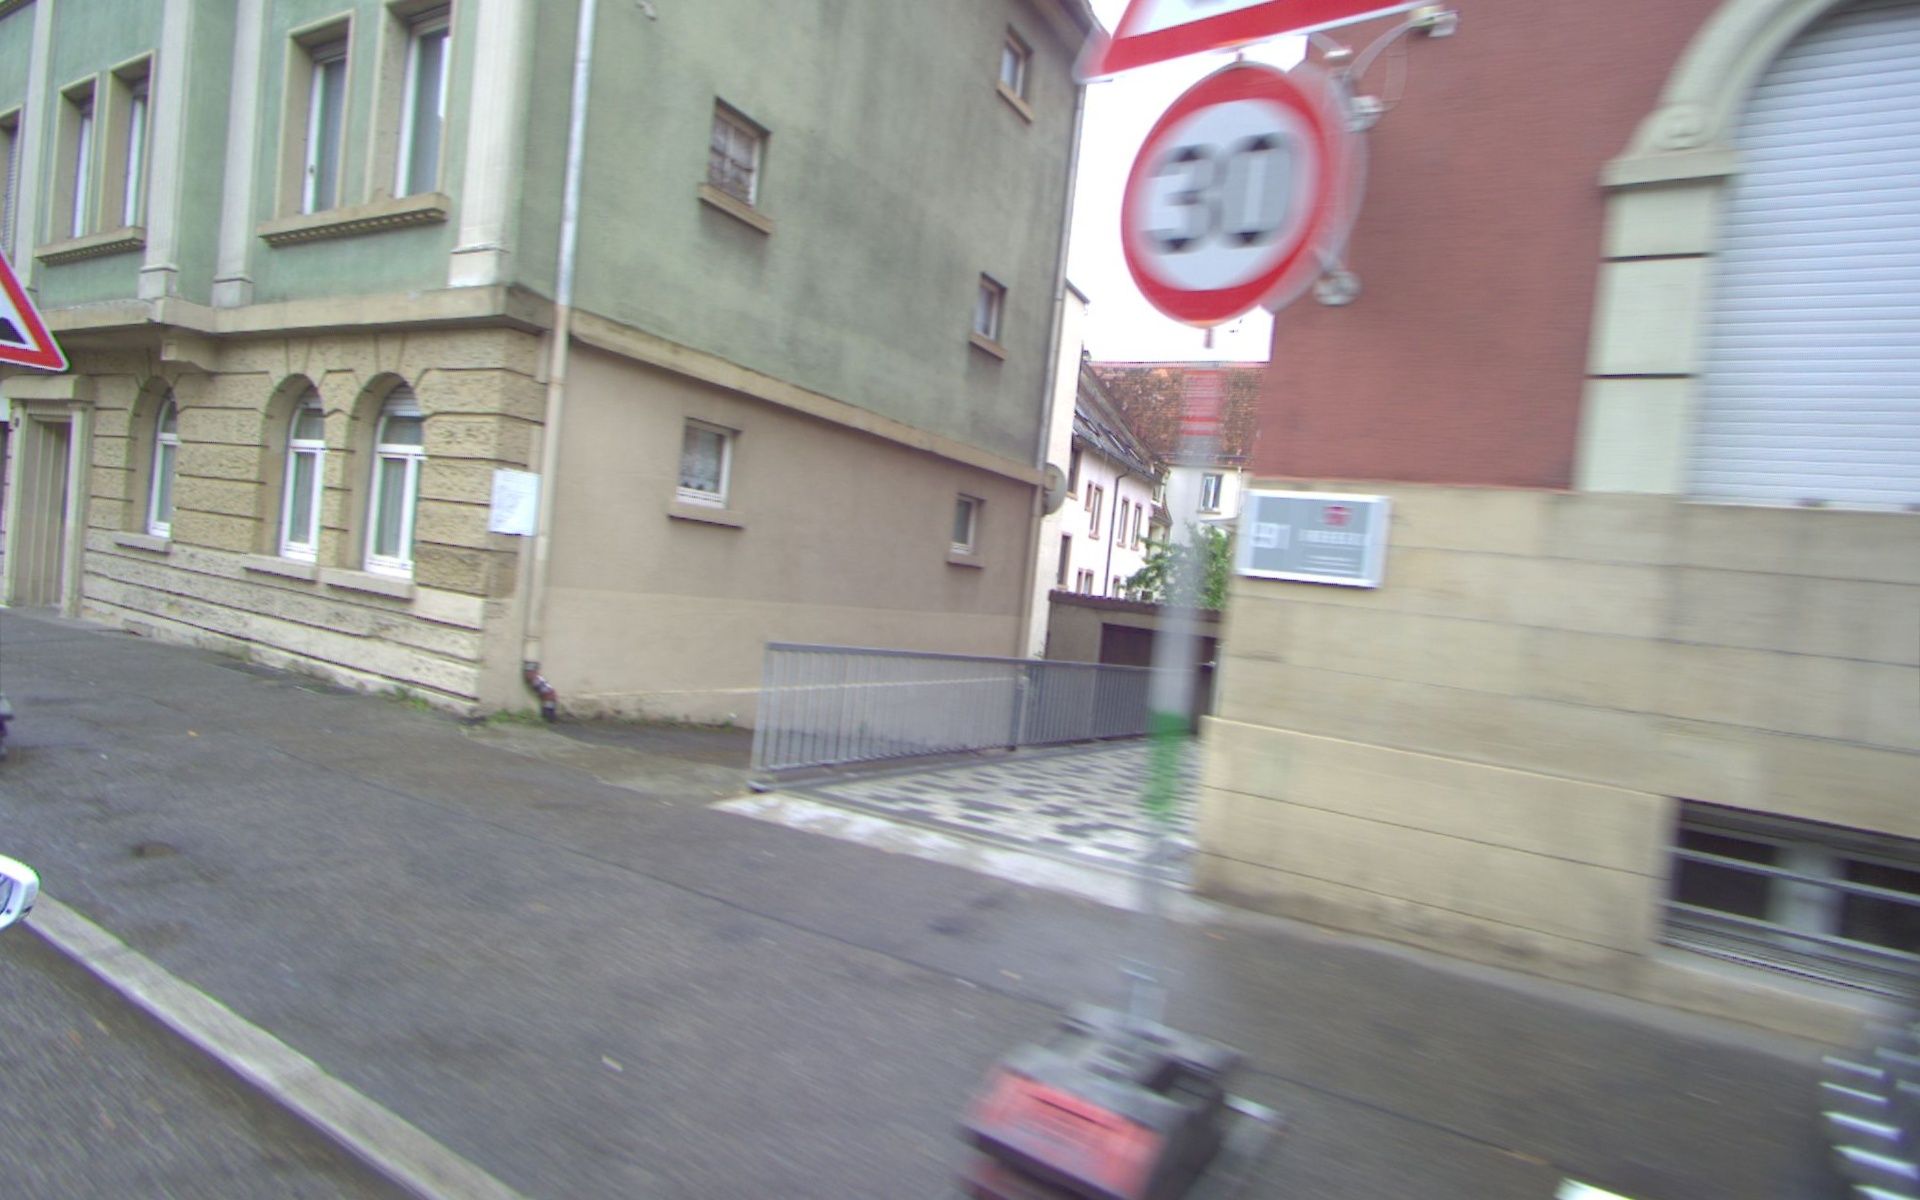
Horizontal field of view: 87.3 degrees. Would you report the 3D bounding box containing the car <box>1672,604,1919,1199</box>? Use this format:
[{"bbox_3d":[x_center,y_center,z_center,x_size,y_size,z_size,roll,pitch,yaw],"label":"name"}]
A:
[{"bbox_3d":[3.323,0.963,0.508,4.621,1.652,1.876,4,2,32],"label":"car"}]
